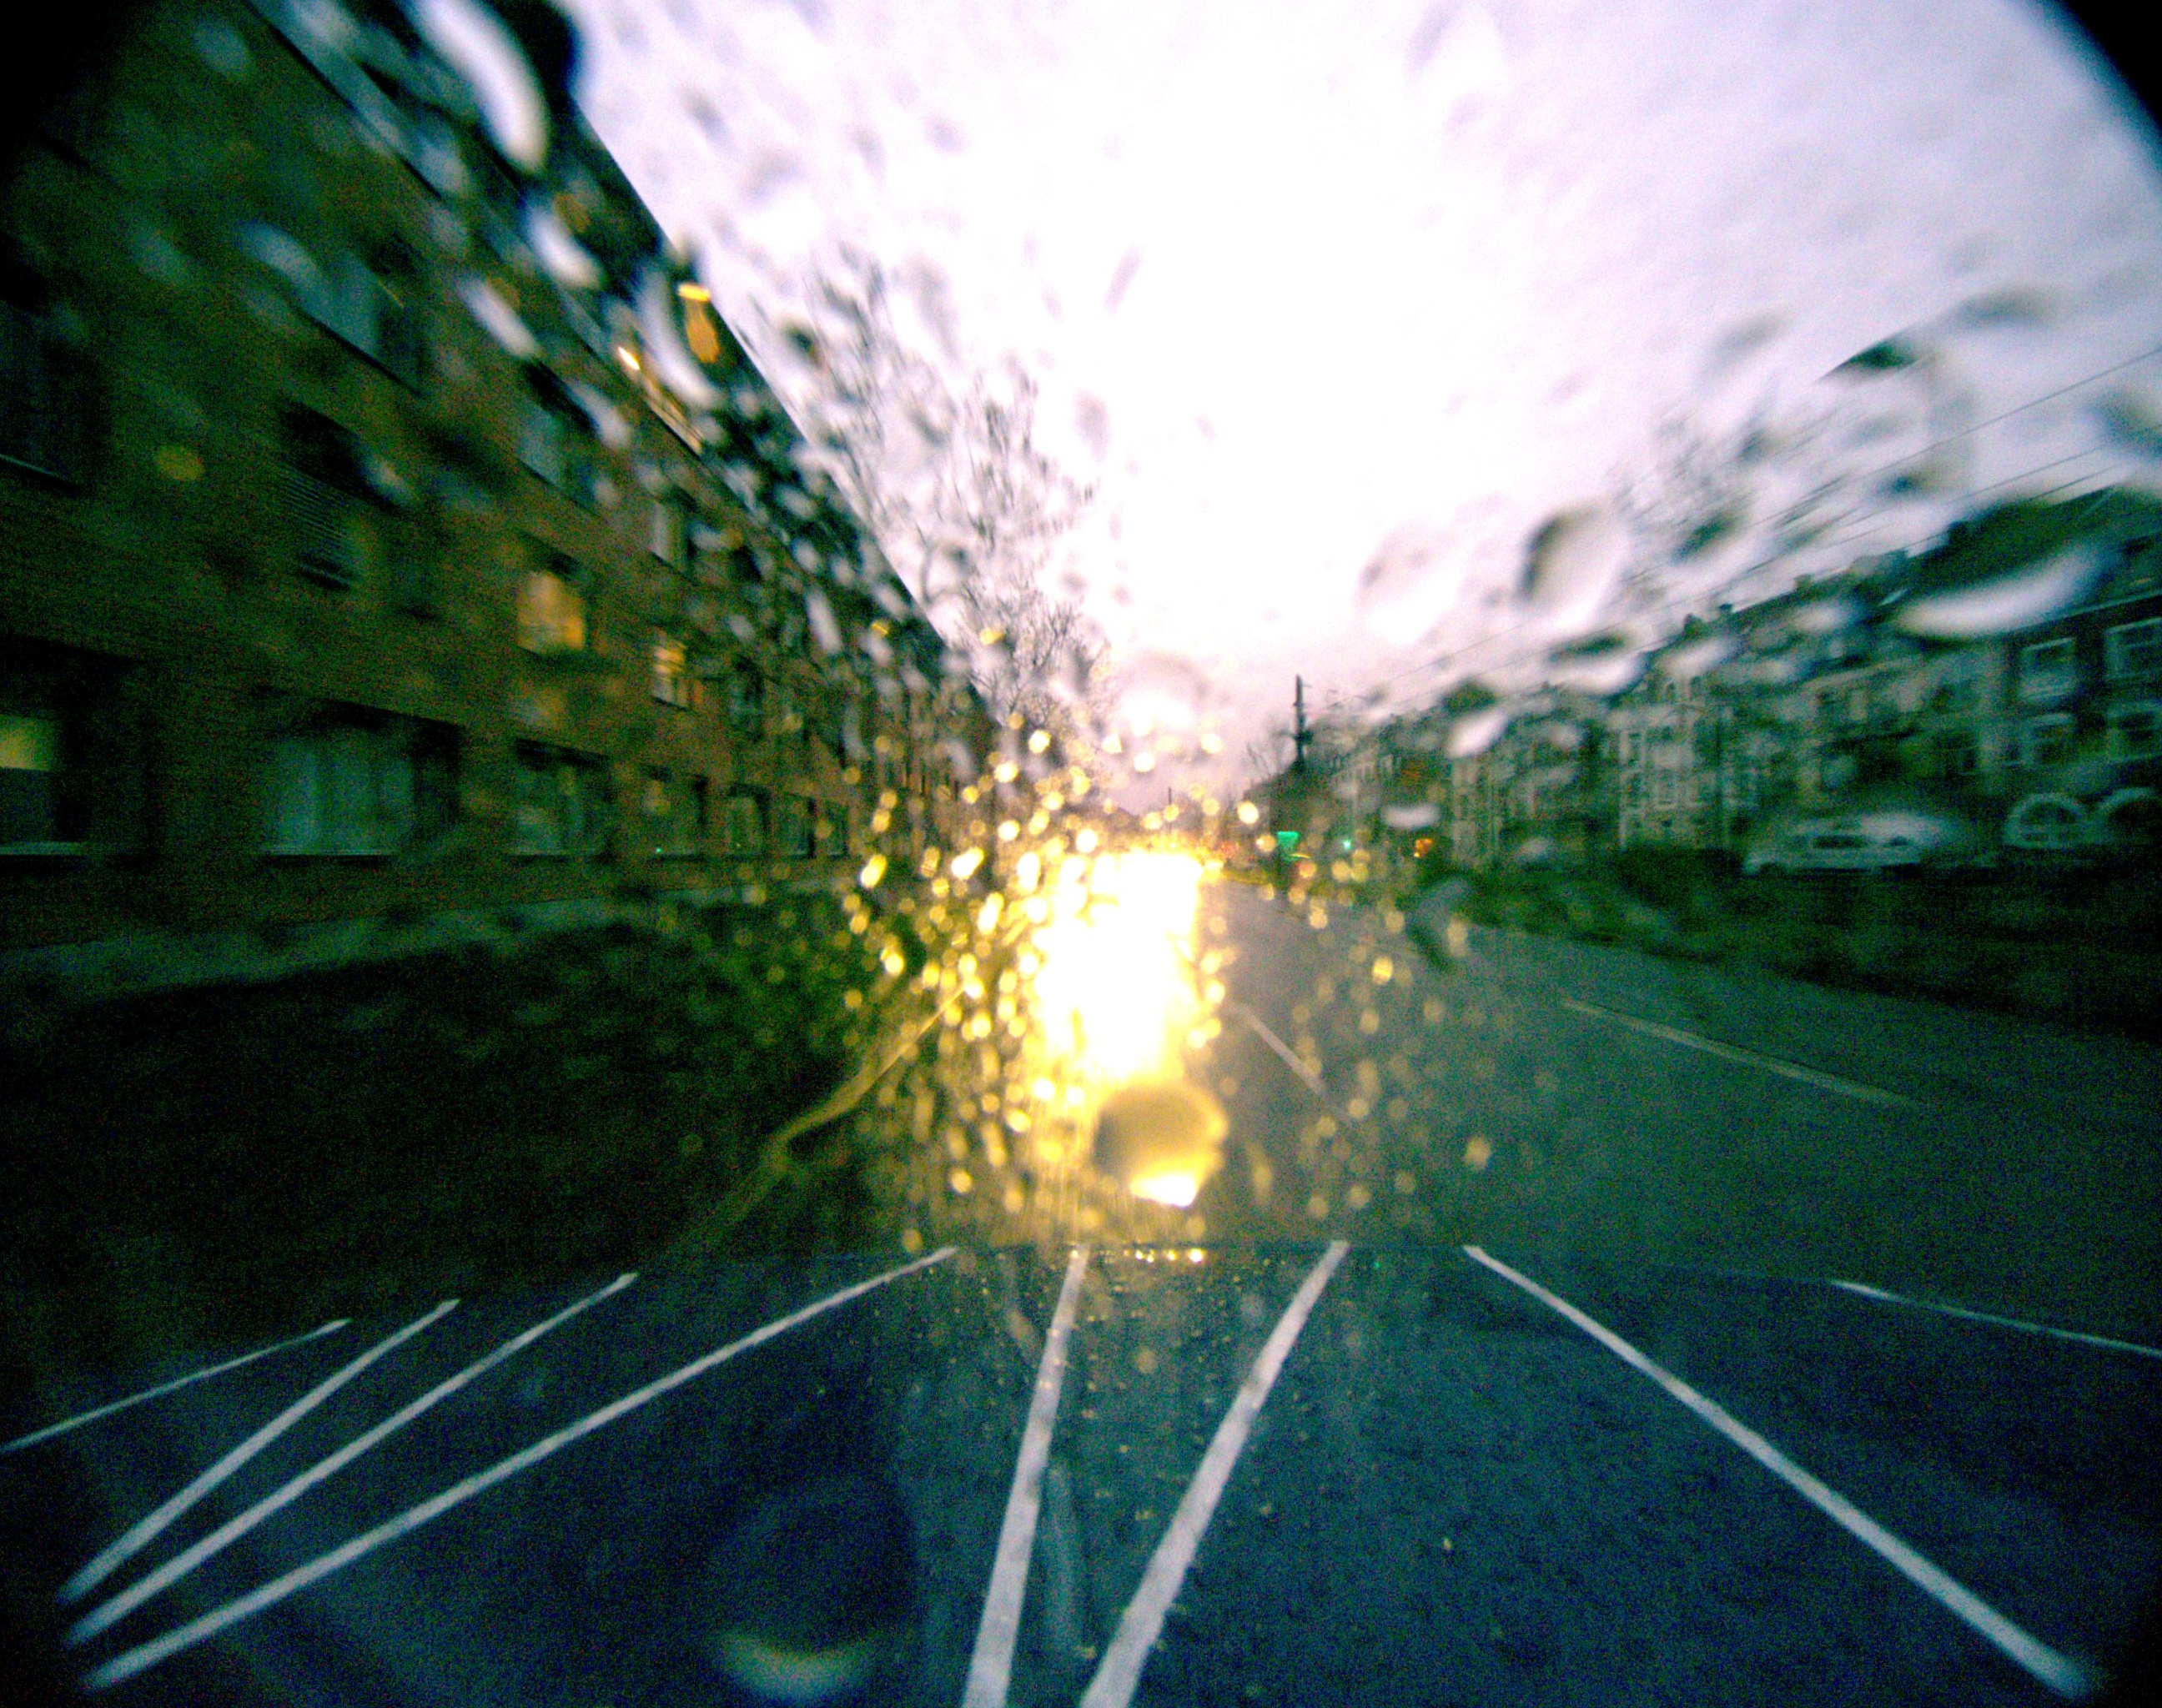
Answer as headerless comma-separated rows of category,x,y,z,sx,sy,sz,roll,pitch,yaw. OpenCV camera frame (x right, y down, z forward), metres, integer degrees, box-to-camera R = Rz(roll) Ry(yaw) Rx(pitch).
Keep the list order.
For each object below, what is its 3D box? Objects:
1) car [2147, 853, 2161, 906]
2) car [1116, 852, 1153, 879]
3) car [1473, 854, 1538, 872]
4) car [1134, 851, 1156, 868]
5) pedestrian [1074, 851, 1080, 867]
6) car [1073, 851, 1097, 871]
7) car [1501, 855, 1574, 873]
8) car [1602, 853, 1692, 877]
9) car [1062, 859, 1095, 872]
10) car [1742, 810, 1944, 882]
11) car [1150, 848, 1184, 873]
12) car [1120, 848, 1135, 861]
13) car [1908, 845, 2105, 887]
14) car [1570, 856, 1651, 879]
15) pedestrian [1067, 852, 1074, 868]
car,31.615,0.719,19.798,3.988,1.477,2.004,0,1,35
car,2.882,0.602,41.949,1.813,1.384,4.053,-2,0,1
car,31.477,0.635,56.374,3.988,1.324,2.004,0,1,37
car,6.904,0.602,82.401,1.998,1.745,4.000,0,0,1
pedestrian,-0.433,0.587,85.255,0.506,1.814,0.656,0,1,-25
car,0.374,0.595,66.756,1.998,1.745,4.000,0,0,1
car,31.020,0.649,51.692,3.988,1.162,2.004,0,1,39
car,31.911,0.593,42.933,3.988,1.324,2.004,0,1,36
car,-0.245,1.382,94.328,3.996,1.547,1.742,1,1,2
car,31.849,-0.337,32.083,5.850,2.781,2.004,0,1,43
car,5.625,0.394,50.194,1.813,1.488,4.053,-2,0,1
car,6.661,0.092,109.231,1.998,1.745,4.000,0,0,1
car,31.755,0.374,26.294,3.988,1.324,2.004,0,1,39
car,32.230,0.803,46.309,3.988,1.324,2.004,0,1,37
pedestrian,-1.140,0.602,83.033,0.506,1.732,0.656,0,1,-32
